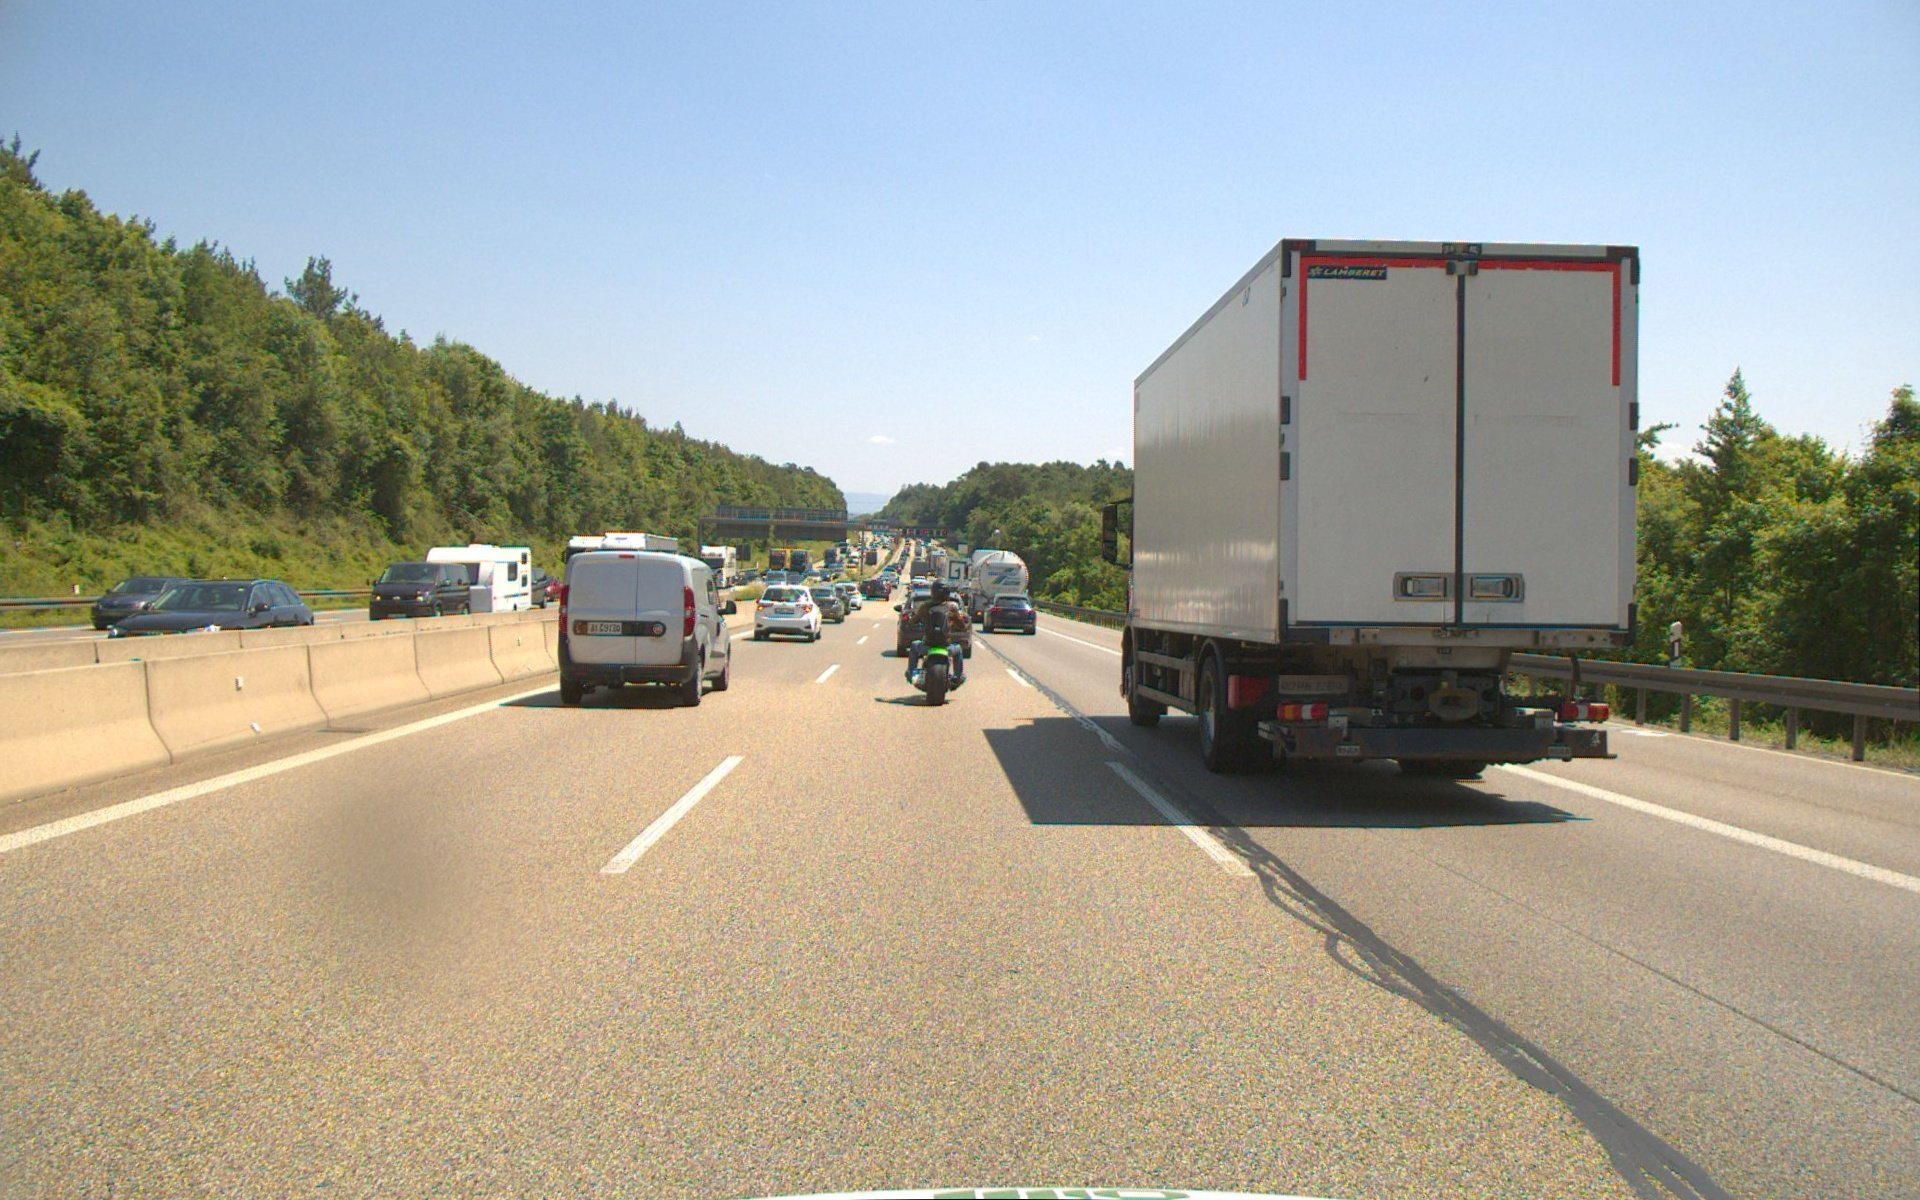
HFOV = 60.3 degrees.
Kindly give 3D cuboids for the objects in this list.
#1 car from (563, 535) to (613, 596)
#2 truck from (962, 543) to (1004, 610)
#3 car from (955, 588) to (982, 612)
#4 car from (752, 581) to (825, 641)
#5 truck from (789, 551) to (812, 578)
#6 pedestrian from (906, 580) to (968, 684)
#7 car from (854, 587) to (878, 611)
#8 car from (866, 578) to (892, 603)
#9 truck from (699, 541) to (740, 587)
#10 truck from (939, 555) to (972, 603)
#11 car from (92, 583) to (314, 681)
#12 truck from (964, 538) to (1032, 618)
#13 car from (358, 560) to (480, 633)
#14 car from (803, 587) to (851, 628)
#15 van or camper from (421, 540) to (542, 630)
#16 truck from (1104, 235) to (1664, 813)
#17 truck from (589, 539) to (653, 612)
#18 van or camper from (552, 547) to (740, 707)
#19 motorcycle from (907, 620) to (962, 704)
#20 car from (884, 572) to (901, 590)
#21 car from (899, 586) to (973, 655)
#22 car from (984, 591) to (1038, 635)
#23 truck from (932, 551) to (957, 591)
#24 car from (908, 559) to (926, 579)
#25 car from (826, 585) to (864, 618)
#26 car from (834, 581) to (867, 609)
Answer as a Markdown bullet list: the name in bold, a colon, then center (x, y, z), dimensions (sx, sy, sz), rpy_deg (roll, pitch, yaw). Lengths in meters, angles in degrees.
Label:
- **car**: center (-24.697, -2.273, 110.017), dimensions (2.399, 3.941, 4.564), rpy_deg (0, 0, -2)
- **truck**: center (1.249, -1.250, 90.899), dimensions (1.954, 3.584, 4.747), rpy_deg (0, 0, -4)
- **car**: center (0.585, -0.029, 118.078), dimensions (1.751, 1.582, 3.802), rpy_deg (2, 1, -2)
- **car**: center (-4.696, 0.265, 45.753), dimensions (1.665, 1.504, 3.999), rpy_deg (2, 1, -2)
- **truck**: center (-24.353, -5.389, 252.845), dimensions (2.847, 4.043, 7.766), rpy_deg (0, 0, -2)
- **pedestrian**: center (-0.313, 0.419, 22.573), dimensions (0.832, 1.385, 0.961), rpy_deg (0, 0, 0)
- **car**: center (-8.206, -0.096, 144.649), dimensions (1.953, 2.049, 3.999), rpy_deg (0, 0, -1)
- **car**: center (-6.382, -0.756, 129.880), dimensions (1.842, 1.892, 3.999), rpy_deg (2, 1, -1)
- **truck**: center (-23.189, -3.446, 159.768), dimensions (2.745, 4.238, 7.599), rpy_deg (1, 0, 0)
- **truck**: center (-0.526, -2.200, 170.302), dimensions (2.972, 4.621, 9.980), rpy_deg (3, 1, -1)
- **car**: center (-11.735, 0.446, 25.951), dimensions (1.581, 1.400, 4.269), rpy_deg (1, 0, -1)
- **truck**: center (1.795, -1.024, 81.930), dimensions (2.927, 3.735, 9.284), rpy_deg (0, 0, -1)
- **car**: center (-15.816, -0.087, 48.626), dimensions (1.953, 2.049, 5.191), rpy_deg (0, 0, -1)
- **car**: center (-5.304, 0.265, 66.515), dimensions (1.665, 1.504, 3.999), rpy_deg (2, 1, -2)
- **van or camper**: center (-16.035, -0.500, 55.849), dimensions (2.185, 2.809, 6.835), rpy_deg (1, 0, -1)
- **truck**: center (3.349, -0.560, 16.254), dimensions (2.634, 3.944, 9.776), rpy_deg (-1, 0, -2)
- **truck**: center (-20.707, -1.475, 101.393), dimensions (2.783, 4.288, 5.658), rpy_deg (1, 0, -2)
- **van or camper**: center (-4.067, 0.330, 22.060), dimensions (1.759, 1.925, 4.159), rpy_deg (0, 0, -1)
- **motorcycle**: center (-0.341, 0.823, 22.681), dimensions (0.677, 1.033, 2.121), rpy_deg (3, 0, 0)
- **car**: center (-7.900, -2.246, 194.081), dimensions (1.890, 2.049, 3.999), rpy_deg (0, 0, -1)
- **car**: center (-0.520, 0.440, 38.974), dimensions (1.501, 1.536, 4.001), rpy_deg (0, 0, 2)
- **car**: center (1.894, 0.477, 62.642), dimensions (1.792, 1.496, 3.999), rpy_deg (3, 1, -1)
- **truck**: center (-2.198, -4.049, 230.596), dimensions (2.972, 5.228, 9.980), rpy_deg (3, 1, -1)
- **car**: center (-6.049, -4.328, 232.732), dimensions (2.454, 2.632, 5.015), rpy_deg (2, 1, -2)
- **car**: center (-5.715, 0.051, 82.424), dimensions (1.665, 1.504, 3.999), rpy_deg (2, 1, -2)
- **car**: center (-6.290, -0.281, 95.036), dimensions (1.665, 1.504, 3.999), rpy_deg (2, 1, -2)
